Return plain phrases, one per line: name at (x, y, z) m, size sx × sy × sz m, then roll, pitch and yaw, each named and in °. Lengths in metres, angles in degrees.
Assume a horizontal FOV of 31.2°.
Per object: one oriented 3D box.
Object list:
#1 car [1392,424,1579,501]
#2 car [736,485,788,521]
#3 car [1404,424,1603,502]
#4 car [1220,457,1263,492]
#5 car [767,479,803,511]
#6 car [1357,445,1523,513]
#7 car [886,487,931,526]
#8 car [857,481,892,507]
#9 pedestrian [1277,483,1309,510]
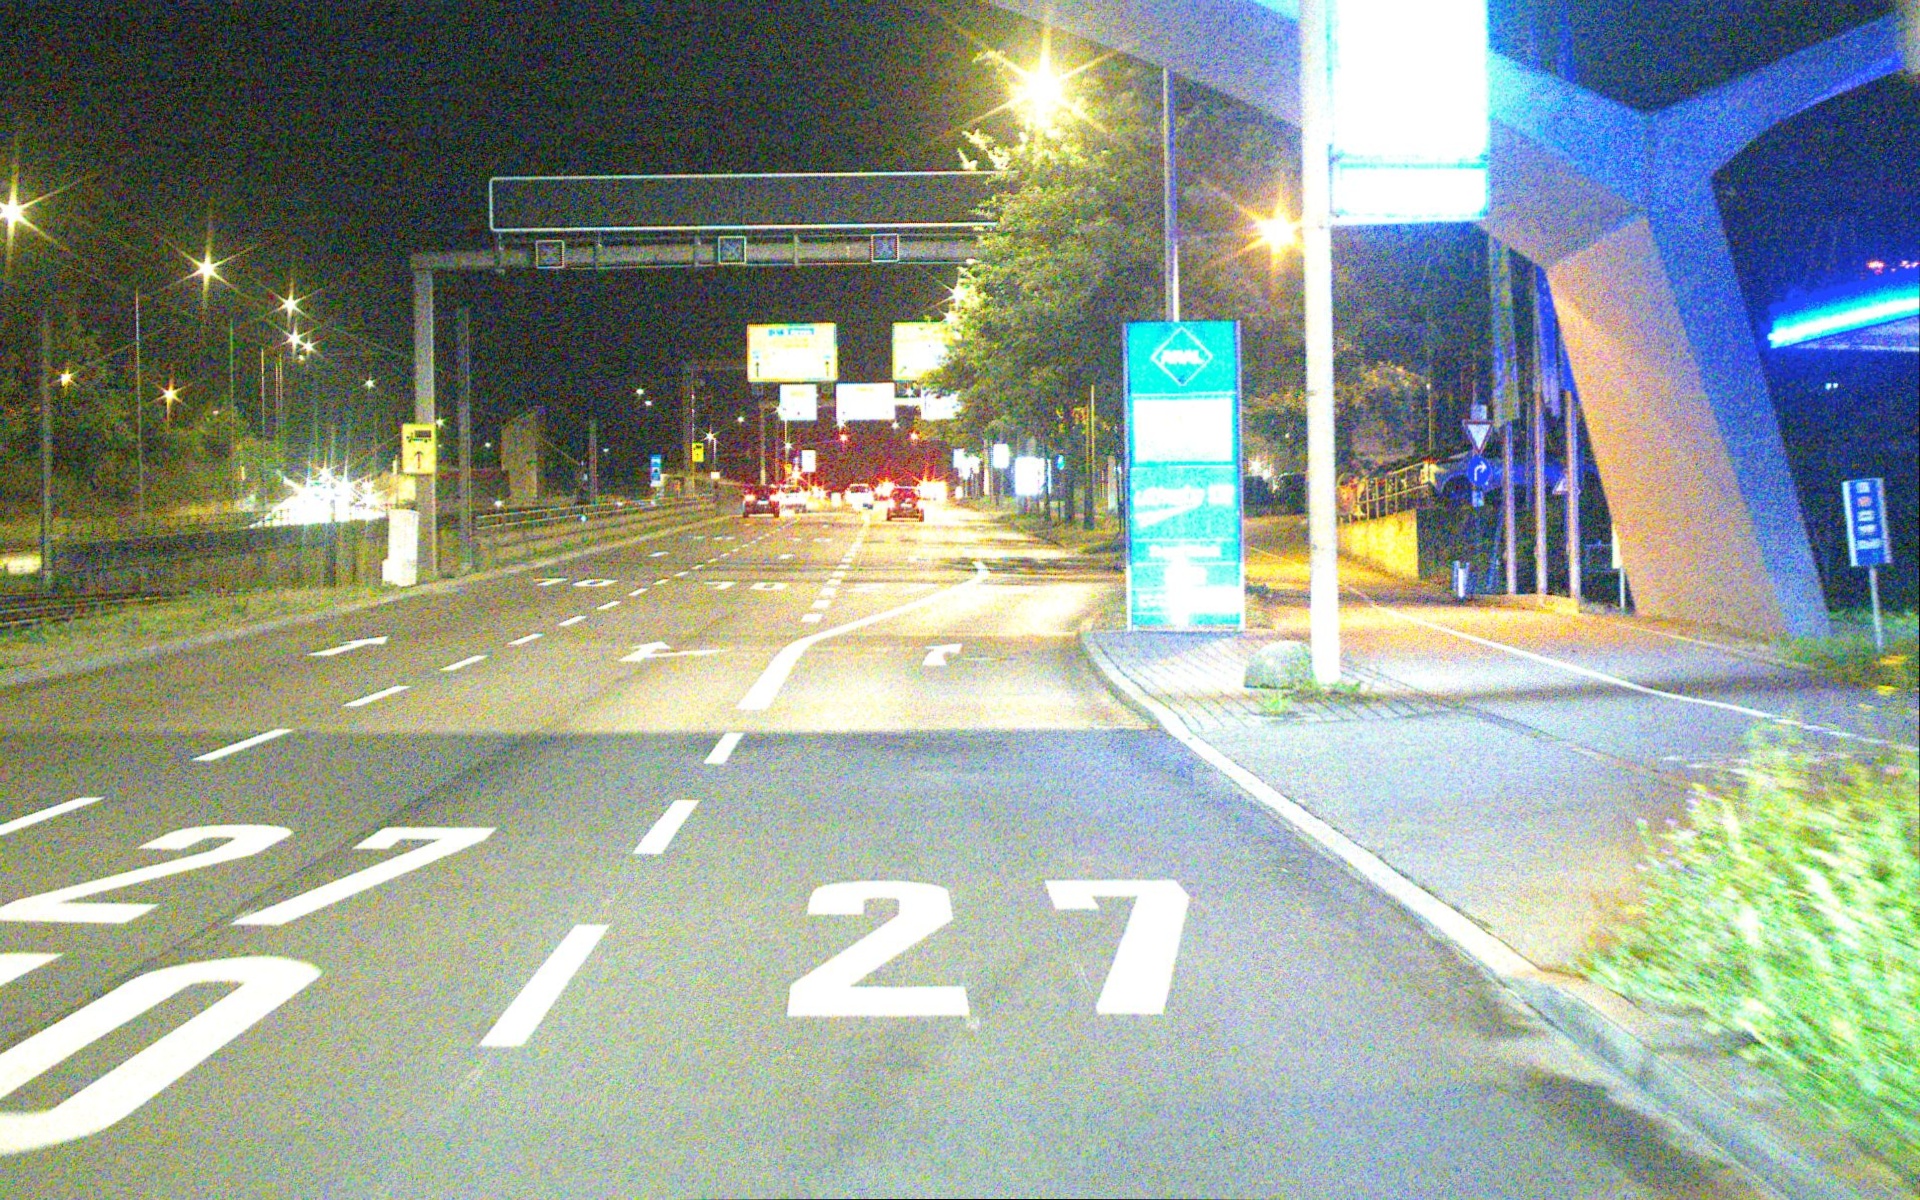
car at (12.063, -3.154, 79.070) m, size 3.987 × 1.566 × 1.738 m, roll -2°, pitch 0°, yaw 1°
car at (-9.887, -4.835, 171.679) m, size 1.967 × 1.705 × 4.001 m, roll 1°, pitch 1°, yaw -12°
car at (12.103, -3.048, 76.764) m, size 4.119 × 1.517 × 1.822 m, roll -2°, pitch 0°, yaw 1°
car at (13.242, -5.886, 161.445) m, size 1.893 × 1.506 × 3.635 m, roll 1°, pitch 1°, yaw 6°
car at (-9.997, -5.992, 195.834) m, size 1.782 × 1.705 × 4.001 m, roll 1°, pitch 1°, yaw -6°
car at (11.708, -2.951, 84.017) m, size 3.724 × 1.484 × 1.742 m, roll -2°, pitch 0°, yaw -2°
car at (-2.446, -4.426, 162.991) m, size 1.968 × 1.705 × 4.000 m, roll 1°, pitch 1°, yaw 1°
car at (-5.379, -6.657, 216.259) m, size 2.005 × 1.546 × 4.295 m, roll 1°, pitch 1°, yaw 1°
pedestrian at (12.823, -3.984, 132.300) m, size 0.997 × 1.004 × 0.772 m, roll 1°, pitch 0°, yaw -16°
